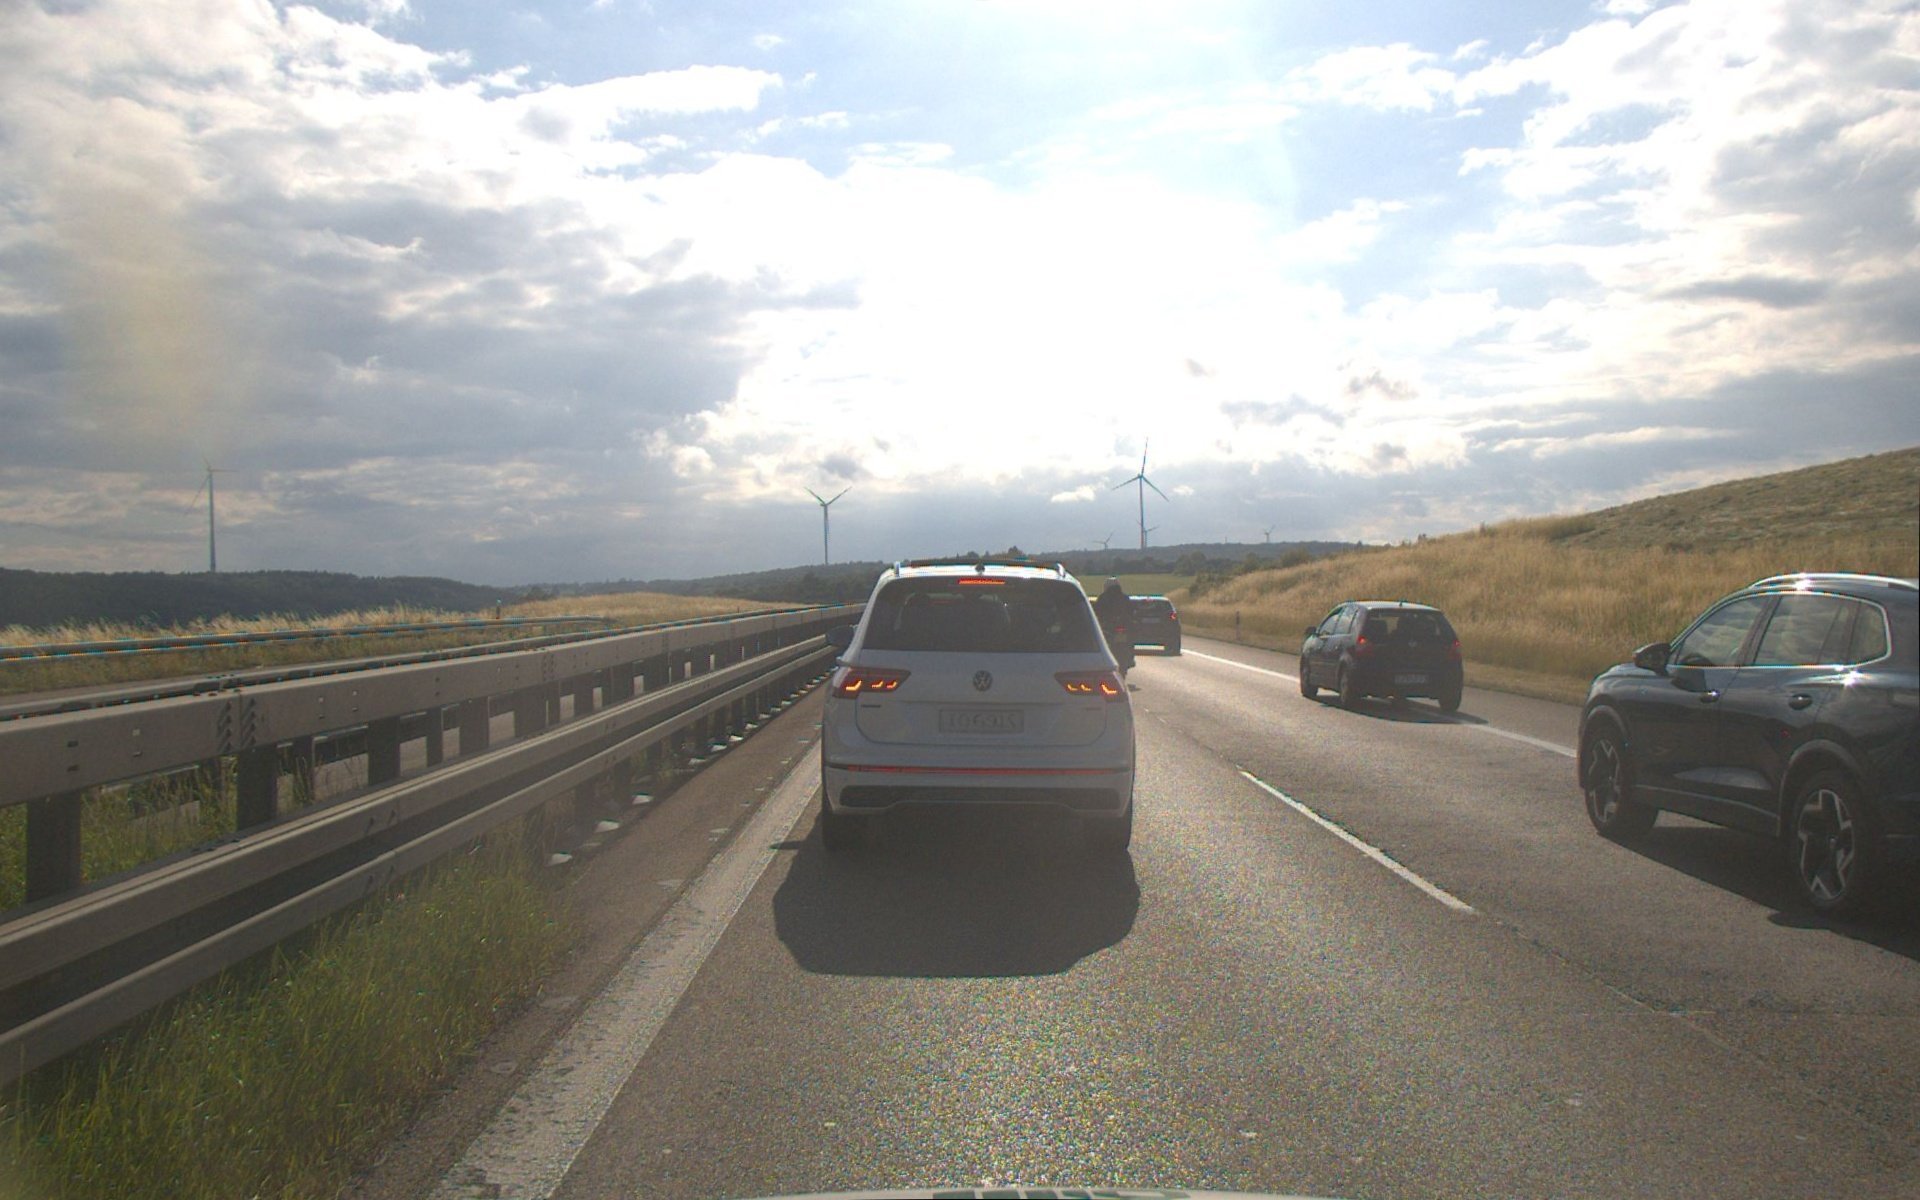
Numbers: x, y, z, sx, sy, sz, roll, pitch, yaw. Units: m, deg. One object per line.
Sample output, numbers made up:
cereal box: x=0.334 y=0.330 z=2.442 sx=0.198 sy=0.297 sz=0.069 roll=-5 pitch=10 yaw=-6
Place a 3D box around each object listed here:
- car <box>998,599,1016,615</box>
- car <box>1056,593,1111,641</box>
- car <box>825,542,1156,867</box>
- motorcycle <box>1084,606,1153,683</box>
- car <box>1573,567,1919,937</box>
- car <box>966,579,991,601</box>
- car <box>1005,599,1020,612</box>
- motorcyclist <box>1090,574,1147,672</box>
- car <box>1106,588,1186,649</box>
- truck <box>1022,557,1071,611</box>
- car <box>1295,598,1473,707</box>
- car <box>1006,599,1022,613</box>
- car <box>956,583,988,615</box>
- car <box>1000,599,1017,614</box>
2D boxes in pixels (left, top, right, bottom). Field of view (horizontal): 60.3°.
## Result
car: x=4.715 y=0.672 z=165.219 sx=1.669 sy=1.573 sz=3.999 roll=0 pitch=0 yaw=-1
car: x=4.507 y=0.594 z=60.604 sx=1.669 sy=1.679 sz=3.999 roll=0 pitch=0 yaw=-1
car: x=0.140 y=0.551 z=10.717 sx=1.734 sy=1.705 sz=3.999 roll=0 pitch=0 yaw=-1
motorcycle: x=2.607 y=0.708 z=27.374 sx=0.877 sy=1.211 sz=2.256 roll=0 pitch=0 yaw=-1
car: x=5.110 y=0.697 z=9.158 sx=1.784 sy=1.629 sz=4.234 roll=2 pitch=0 yaw=-1
car: x=1.336 y=-0.686 z=120.383 sx=1.669 sy=1.573 sz=3.999 roll=0 pitch=0 yaw=-1
car: x=6.457 y=0.719 z=202.541 sx=1.669 sy=1.573 sz=3.999 roll=0 pitch=0 yaw=-1
motorcyclist: x=2.611 y=0.370 z=27.328 sx=0.832 sy=1.587 sz=0.934 roll=0 pitch=0 yaw=-1
car: x=4.988 y=0.472 z=44.695 sx=1.669 sy=1.573 sz=3.999 roll=0 pitch=0 yaw=-1
truck: x=6.167 y=-1.155 z=119.478 sx=3.118 sy=3.656 sz=11.132 roll=0 pitch=1 yaw=1
car: x=5.998 y=0.696 z=23.784 sx=1.573 sy=1.445 sz=3.671 roll=0 pitch=0 yaw=-1
car: x=6.365 y=0.712 z=196.044 sx=1.669 sy=1.573 sz=3.999 roll=0 pitch=0 yaw=-1
car: x=0.640 y=-0.060 z=90.321 sx=1.669 sy=1.679 sz=3.999 roll=0 pitch=0 yaw=-1
car: x=5.133 y=0.685 z=175.596 sx=1.669 sy=1.573 sz=3.999 roll=0 pitch=0 yaw=-1
